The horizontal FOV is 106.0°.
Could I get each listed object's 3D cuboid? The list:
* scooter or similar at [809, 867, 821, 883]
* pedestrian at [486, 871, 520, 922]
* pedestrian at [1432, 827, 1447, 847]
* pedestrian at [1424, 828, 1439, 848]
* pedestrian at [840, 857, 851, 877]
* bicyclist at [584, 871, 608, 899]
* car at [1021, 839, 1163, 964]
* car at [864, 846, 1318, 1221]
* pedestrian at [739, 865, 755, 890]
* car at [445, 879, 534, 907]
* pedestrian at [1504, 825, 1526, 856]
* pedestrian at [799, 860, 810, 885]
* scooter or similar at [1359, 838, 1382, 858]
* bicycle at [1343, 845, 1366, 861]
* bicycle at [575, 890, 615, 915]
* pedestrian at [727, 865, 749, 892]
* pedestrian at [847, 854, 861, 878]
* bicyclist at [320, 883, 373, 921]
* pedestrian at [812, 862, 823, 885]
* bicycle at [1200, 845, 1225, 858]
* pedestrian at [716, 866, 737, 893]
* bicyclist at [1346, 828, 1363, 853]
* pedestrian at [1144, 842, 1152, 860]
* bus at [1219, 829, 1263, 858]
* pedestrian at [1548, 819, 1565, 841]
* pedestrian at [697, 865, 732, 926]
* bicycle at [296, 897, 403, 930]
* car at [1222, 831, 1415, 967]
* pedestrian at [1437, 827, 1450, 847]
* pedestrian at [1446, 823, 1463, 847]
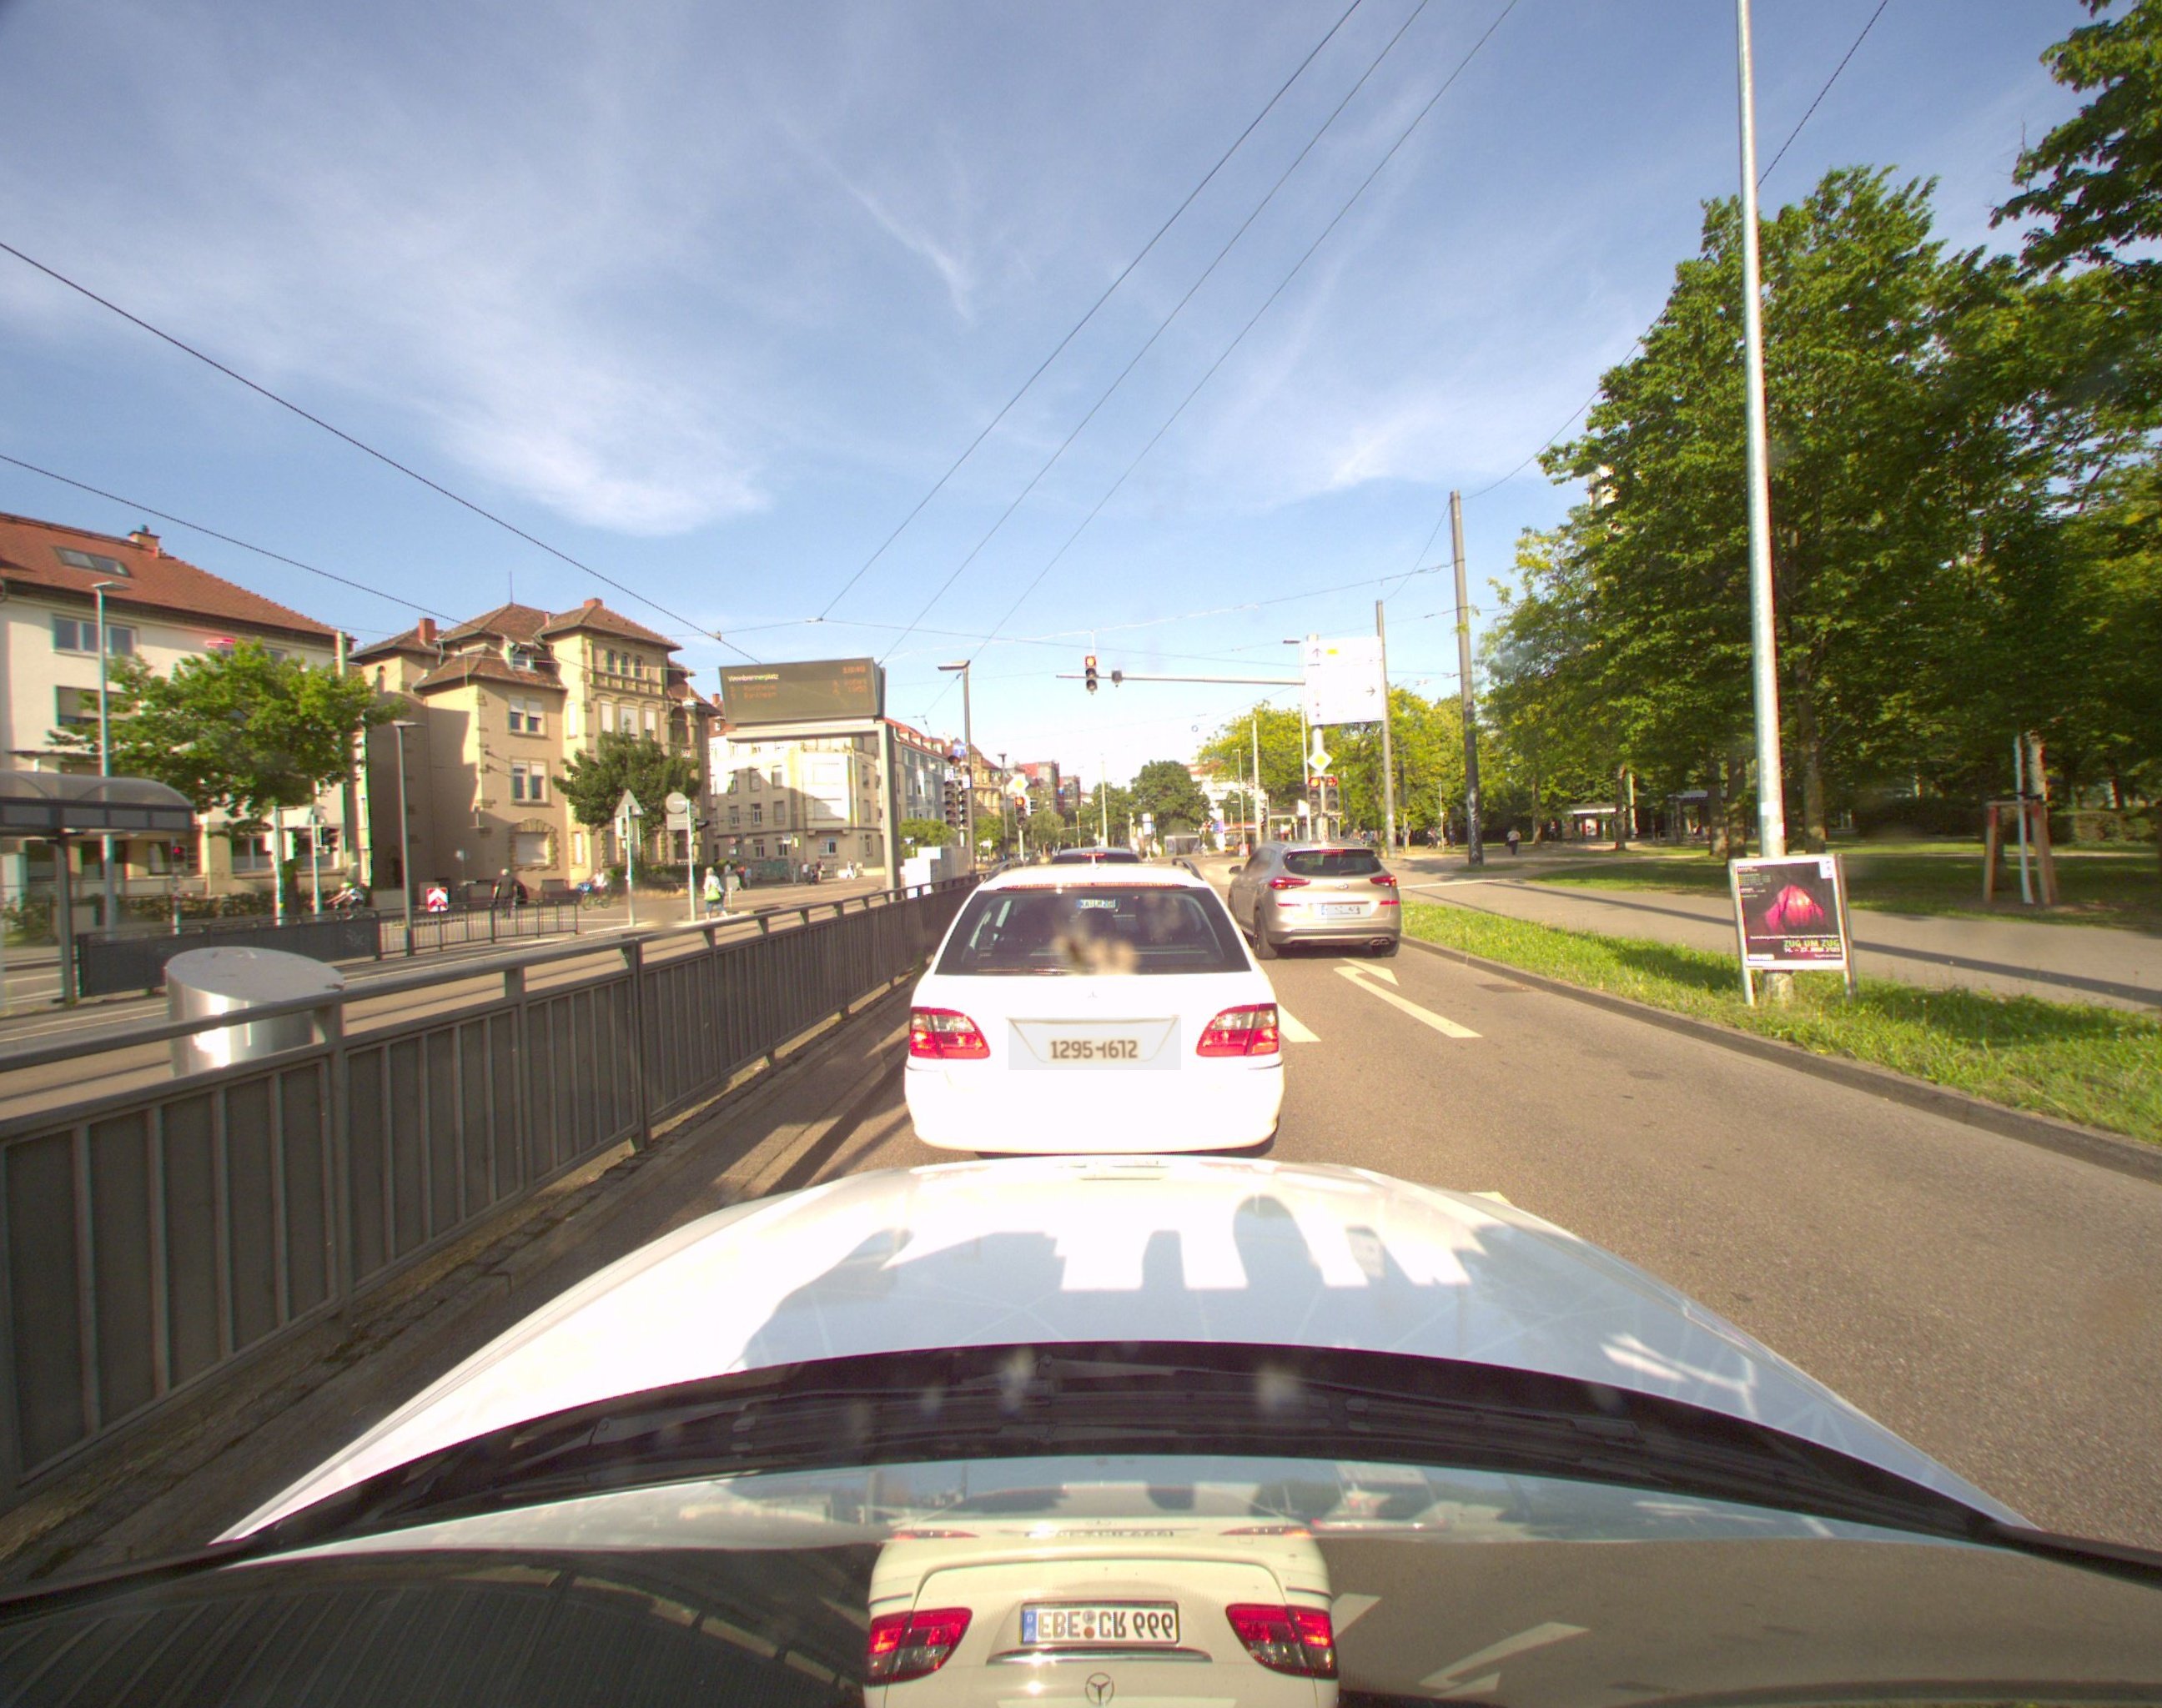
[{"bbox_3d":[-18.538,1.479,56.791,0.541,1.079,0.683,-1,-1,1],"label":"scooter or similar"},{"bbox_3d":[-19.826,1.447,27.928,0.798,1.645,0.748,-3,0,-42],"label":"pedestrian"},{"bbox_3d":[28.108,-1.323,63.877,0.813,1.487,0.698,-3,0,-9],"label":"pedestrian"},{"bbox_3d":[27.260,-1.240,63.289,0.820,1.487,0.692,-3,0,-40],"label":"pedestrian"},{"bbox_3d":[-20.248,1.122,70.131,0.615,1.660,0.589,-3,0,17],"label":"pedestrian"},{"bbox_3d":[-19.171,1.213,32.216,0.511,1.044,0.679,-3,0,-1],"label":"bicyclist"},{"bbox_3d":[0.210,0.625,12.685,1.878,1.651,3.649,0,0,2],"label":"car"},{"bbox_3d":[0.085,0.715,5.089,1.789,1.470,3.649,-1,0,1],"label":"car"},{"bbox_3d":[-21.160,1.482,51.628,0.626,1.541,0.711,-3,0,1],"label":"pedestrian"},{"bbox_3d":[-29.449,1.912,40.561,4.066,1.310,1.774,-1,-1,24],"label":"car"},{"bbox_3d":[24.008,-0.737,45.033,0.758,1.636,0.800,-3,0,-38],"label":"pedestrian"},{"bbox_3d":[-18.974,1.257,55.897,0.506,1.626,0.609,-3,0,3],"label":"pedestrian"},{"bbox_3d":[16.129,-0.331,45.359,0.421,1.117,1.322,-3,0,-18],"label":"scooter or similar"},{"bbox_3d":[14.200,-0.042,42.337,0.493,0.757,2.169,-4,0,2],"label":"bicycle"},{"bbox_3d":[-19.143,1.897,32.109,0.524,0.834,1.685,-3,0,-1],"label":"bicycle"},{"bbox_3d":[-20.558,1.474,48.753,0.822,1.552,0.786,-3,0,23],"label":"pedestrian"},{"bbox_3d":[-19.751,1.067,70.857,0.768,2.013,0.790,-3,0,17],"label":"pedestrian"},{"bbox_3d":[-26.592,1.718,29.505,0.758,1.262,1.178,-3,0,10],"label":"bicyclist"},{"bbox_3d":[-18.148,1.341,56.092,0.434,1.500,0.551,-3,0,16],"label":"pedestrian"},{"bbox_3d":[13.741,-0.253,85.016,2.467,1.213,0.809,-3,0,9],"label":"bicycle"},{"bbox_3d":[-21.407,1.519,49.169,0.822,1.552,0.786,-3,0,23],"label":"pedestrian"},{"bbox_3d":[14.176,-0.711,42.199,0.532,1.262,0.869,-3,0,2],"label":"bicyclist"},{"bbox_3d":[7.060,-0.311,86.153,0.638,1.857,0.554,-3,0,13],"label":"pedestrian"},{"bbox_3d":[21.274,-1.298,107.784,3.081,3.606,12.443,-1,-1,24],"label":"bus"},{"bbox_3d":[36.801,-1.871,63.005,0.831,1.636,0.804,-3,0,8],"label":"pedestrian"},{"bbox_3d":[-10.025,1.119,22.280,0.611,1.599,0.632,-3,0,-5],"label":"pedestrian"},{"bbox_3d":[-26.543,2.139,29.654,0.779,0.914,3.006,-3,0,10],"label":"bicycle"},{"bbox_3d":[3.339,0.568,12.203,1.878,1.651,3.649,-3,0,2],"label":"car"},{"bbox_3d":[27.773,-1.302,62.372,0.805,1.487,0.705,-3,0,26],"label":"pedestrian"},{"bbox_3d":[29.123,-1.477,63.498,0.797,1.785,0.838,-3,0,-2],"label":"pedestrian"}]
